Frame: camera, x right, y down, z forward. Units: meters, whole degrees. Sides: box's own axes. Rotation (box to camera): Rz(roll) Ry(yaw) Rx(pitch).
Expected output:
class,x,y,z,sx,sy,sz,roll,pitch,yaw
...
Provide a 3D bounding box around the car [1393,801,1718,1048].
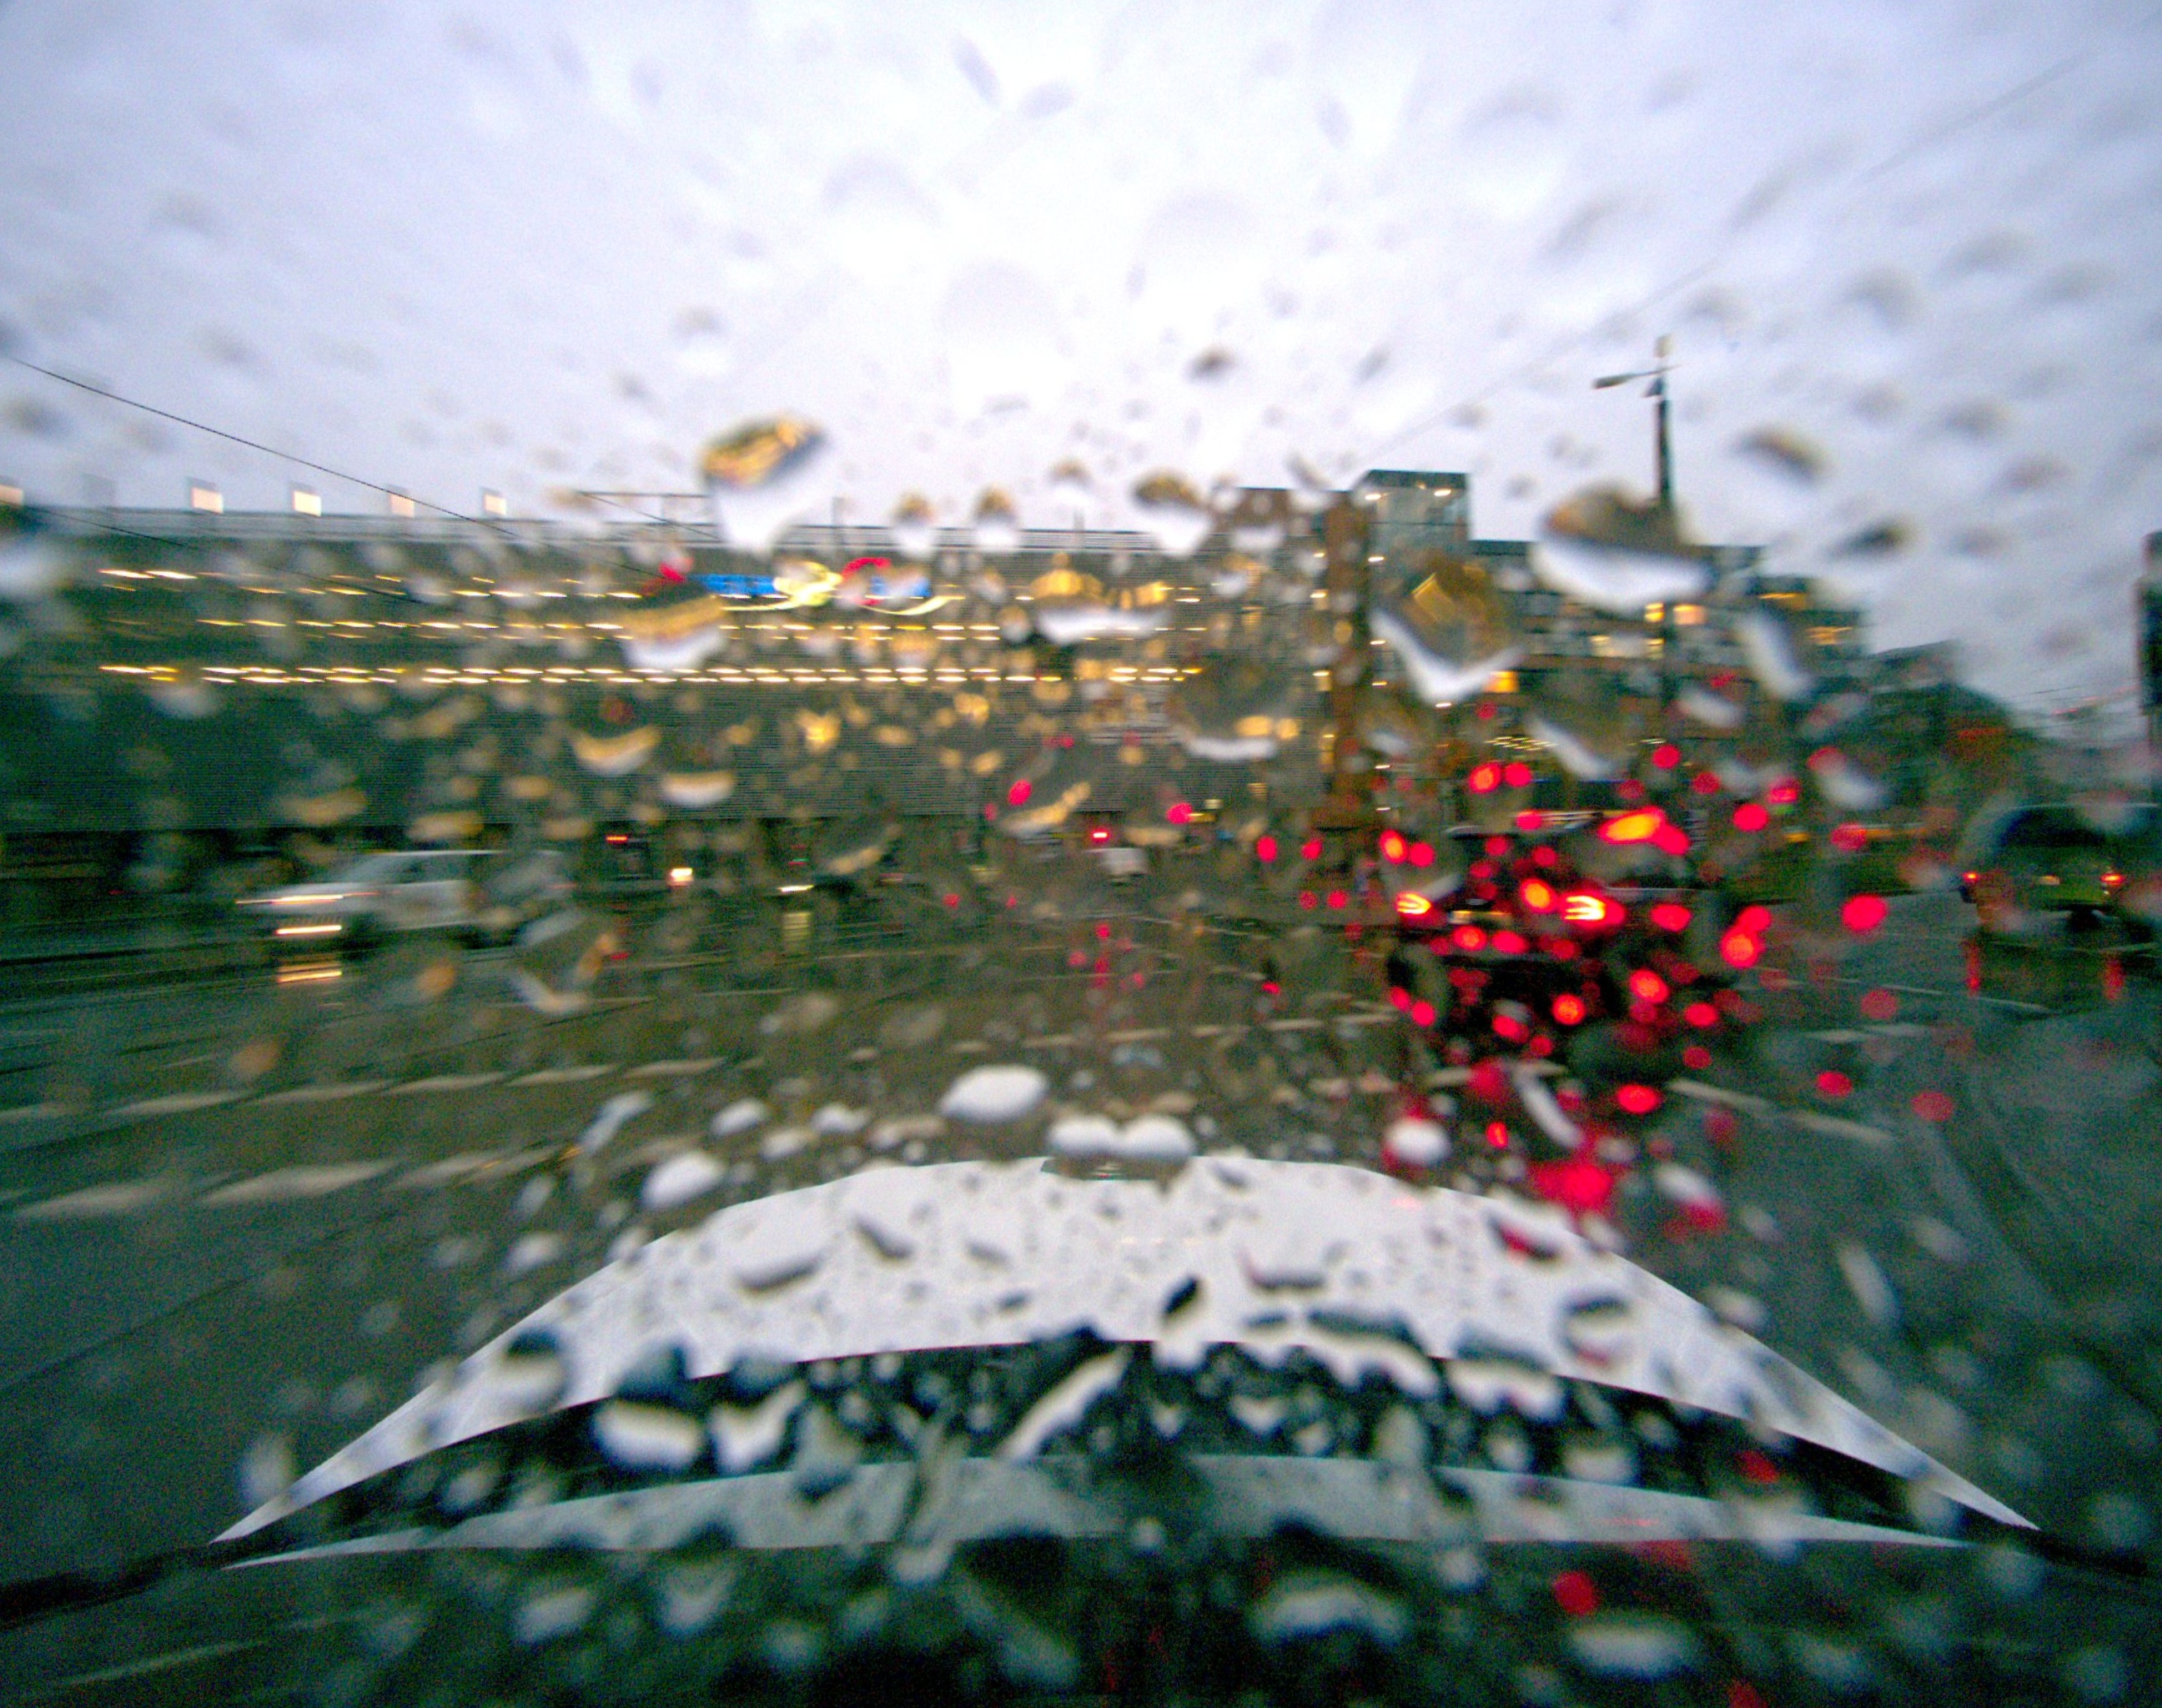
class,x,y,z,sx,sy,sz,roll,pitch,yaw
car,4.749,0.495,7.870,4.023,1.779,1.658,-1,-1,-44

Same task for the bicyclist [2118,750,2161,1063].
class,x,y,z,sx,sy,sz,roll,pitch,yaw
bicyclist,6.892,0.308,4.585,0.788,1.890,0.989,-2,-1,2

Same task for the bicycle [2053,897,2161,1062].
class,x,y,z,sx,sy,sz,roll,pitch,yaw
bicycle,6.974,0.788,4.644,0.652,0.973,1.867,-2,0,2

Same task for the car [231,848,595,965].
class,x,y,z,sx,sy,sz,roll,pitch,yaw
car,-13.756,0.944,17.373,1.929,2.059,5.693,-2,0,24

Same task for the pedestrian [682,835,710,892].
class,x,y,z,sx,sy,sz,roll,pitch,yaw
pedestrian,-20.378,0.506,43.095,0.961,2.925,1.112,0,-1,-5

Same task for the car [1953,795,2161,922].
class,x,y,z,sx,sy,sz,roll,pitch,yaw
car,16.718,0.022,13.287,4.488,1.806,1.836,-1,0,-21

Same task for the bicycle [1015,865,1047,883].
class,x,y,z,sx,sy,sz,roll,pitch,yaw
bicycle,-3.211,1.280,52.415,2.082,1.122,0.476,0,-1,-6

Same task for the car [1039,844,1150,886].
class,x,y,z,sx,sy,sz,roll,pitch,yaw
car,0.588,0.494,36.759,4.611,1.719,1.916,-1,0,-21

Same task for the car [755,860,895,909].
class,x,y,z,sx,sy,sz,roll,pitch,yaw
car,-8.678,0.991,27.954,1.608,1.444,4.452,-2,-1,37

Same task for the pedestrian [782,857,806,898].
class,x,y,z,sx,sy,sz,roll,pitch,yaw
pedestrian,-17.212,1.414,48.818,1.108,2.439,0.964,0,-1,-5
